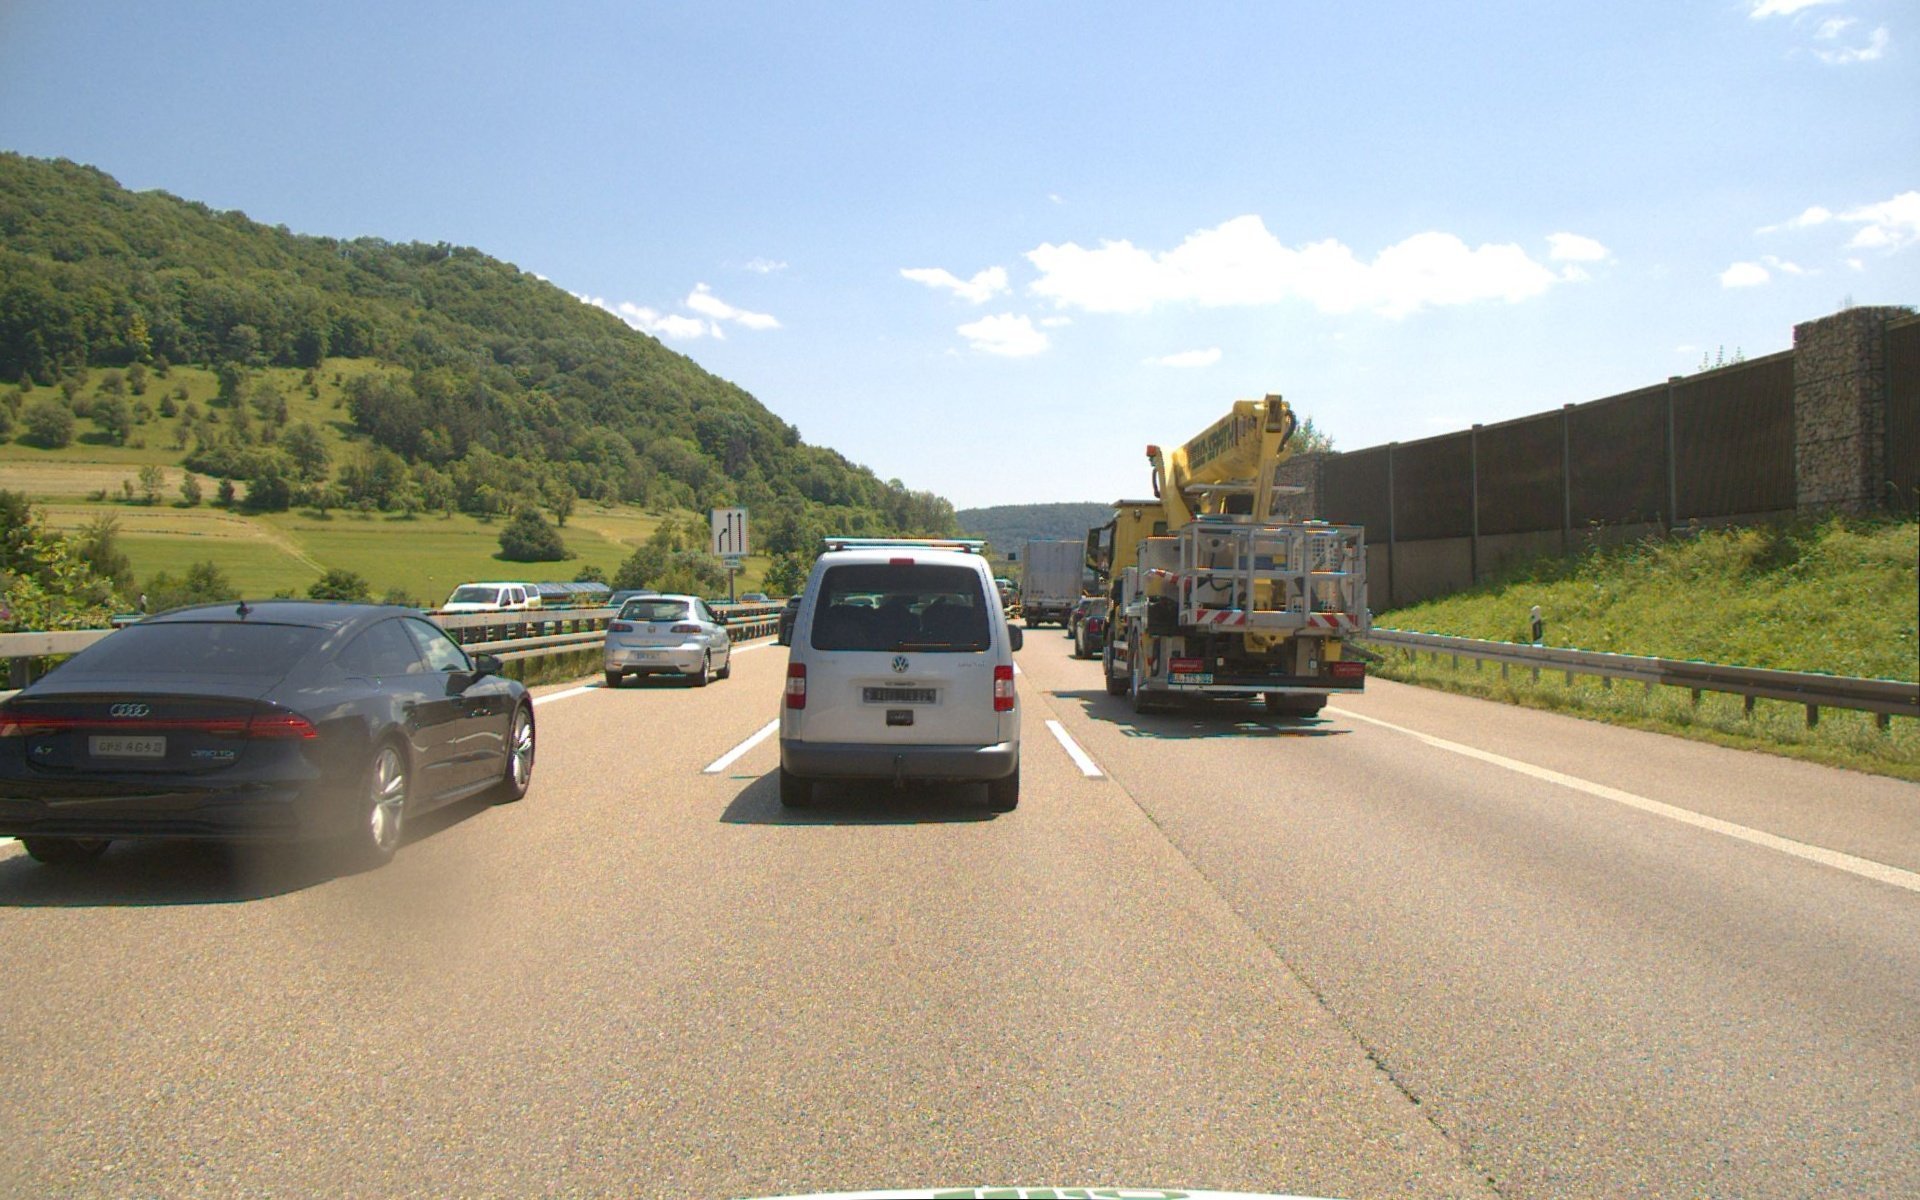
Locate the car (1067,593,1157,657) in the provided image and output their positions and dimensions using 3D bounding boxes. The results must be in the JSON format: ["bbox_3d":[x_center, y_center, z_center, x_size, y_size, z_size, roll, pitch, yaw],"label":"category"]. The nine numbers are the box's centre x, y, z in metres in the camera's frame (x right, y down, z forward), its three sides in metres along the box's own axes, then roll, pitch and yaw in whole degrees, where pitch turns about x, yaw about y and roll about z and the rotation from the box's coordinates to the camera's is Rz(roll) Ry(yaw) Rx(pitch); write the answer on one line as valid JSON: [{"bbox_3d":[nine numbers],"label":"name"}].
[{"bbox_3d":[3.655,0.574,40.347,1.750,1.484,3.769,0,0,-2],"label":"car"}]

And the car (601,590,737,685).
[{"bbox_3d":[-4.759,0.573,27.494,1.661,1.470,3.861,0,0,-1],"label":"car"}]

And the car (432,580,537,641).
[{"bbox_3d":[-15.262,0.305,53.360,1.953,1.871,5.226,0,0,-1],"label":"car"}]

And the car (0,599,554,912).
[{"bbox_3d":[-3.915,0.707,10.051,1.764,1.415,4.968,0,0,-1],"label":"car"}]

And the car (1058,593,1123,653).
[{"bbox_3d":[4.619,0.777,58.934,1.953,2.049,4.000,0,0,-1],"label":"car"}]

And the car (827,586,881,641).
[{"bbox_3d":[-4.123,0.511,64.724,1.953,2.049,3.999,-1,0,-2],"label":"car"}]

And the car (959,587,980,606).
[{"bbox_3d":[0.944,-0.311,166.428,1.953,1.837,3.999,1,0,-1],"label":"car"}]

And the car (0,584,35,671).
[{"bbox_3d":[-19.484,0.533,31.008,1.788,1.673,4.544,0,0,-1],"label":"car"}]

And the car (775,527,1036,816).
[{"bbox_3d":[-0.416,0.463,12.905,1.720,1.900,3.999,0,0,-2],"label":"car"}]

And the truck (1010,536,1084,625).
[{"bbox_3d":[3.997,-0.859,77.561,2.880,3.890,8.235,1,0,-1],"label":"truck"}]

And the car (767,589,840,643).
[{"bbox_3d":[-4.581,0.443,48.906,1.886,1.525,3.999,1,0,-2],"label":"car"}]

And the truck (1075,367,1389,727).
[{"bbox_3d":[3.341,-0.607,22.800,2.649,4.011,8.718,0,0,-2],"label":"truck"}]

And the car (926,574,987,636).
[{"bbox_3d":[-0.153,0.153,55.735,1.953,2.010,3.999,0,0,-2],"label":"car"}]

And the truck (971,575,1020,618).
[{"bbox_3d":[2.226,-0.223,102.524,2.339,2.585,5.944,0,0,8],"label":"truck"}]

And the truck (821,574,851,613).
[{"bbox_3d":[-14.016,-0.680,187.536,2.740,4.306,7.232,1,0,1],"label":"truck"}]
